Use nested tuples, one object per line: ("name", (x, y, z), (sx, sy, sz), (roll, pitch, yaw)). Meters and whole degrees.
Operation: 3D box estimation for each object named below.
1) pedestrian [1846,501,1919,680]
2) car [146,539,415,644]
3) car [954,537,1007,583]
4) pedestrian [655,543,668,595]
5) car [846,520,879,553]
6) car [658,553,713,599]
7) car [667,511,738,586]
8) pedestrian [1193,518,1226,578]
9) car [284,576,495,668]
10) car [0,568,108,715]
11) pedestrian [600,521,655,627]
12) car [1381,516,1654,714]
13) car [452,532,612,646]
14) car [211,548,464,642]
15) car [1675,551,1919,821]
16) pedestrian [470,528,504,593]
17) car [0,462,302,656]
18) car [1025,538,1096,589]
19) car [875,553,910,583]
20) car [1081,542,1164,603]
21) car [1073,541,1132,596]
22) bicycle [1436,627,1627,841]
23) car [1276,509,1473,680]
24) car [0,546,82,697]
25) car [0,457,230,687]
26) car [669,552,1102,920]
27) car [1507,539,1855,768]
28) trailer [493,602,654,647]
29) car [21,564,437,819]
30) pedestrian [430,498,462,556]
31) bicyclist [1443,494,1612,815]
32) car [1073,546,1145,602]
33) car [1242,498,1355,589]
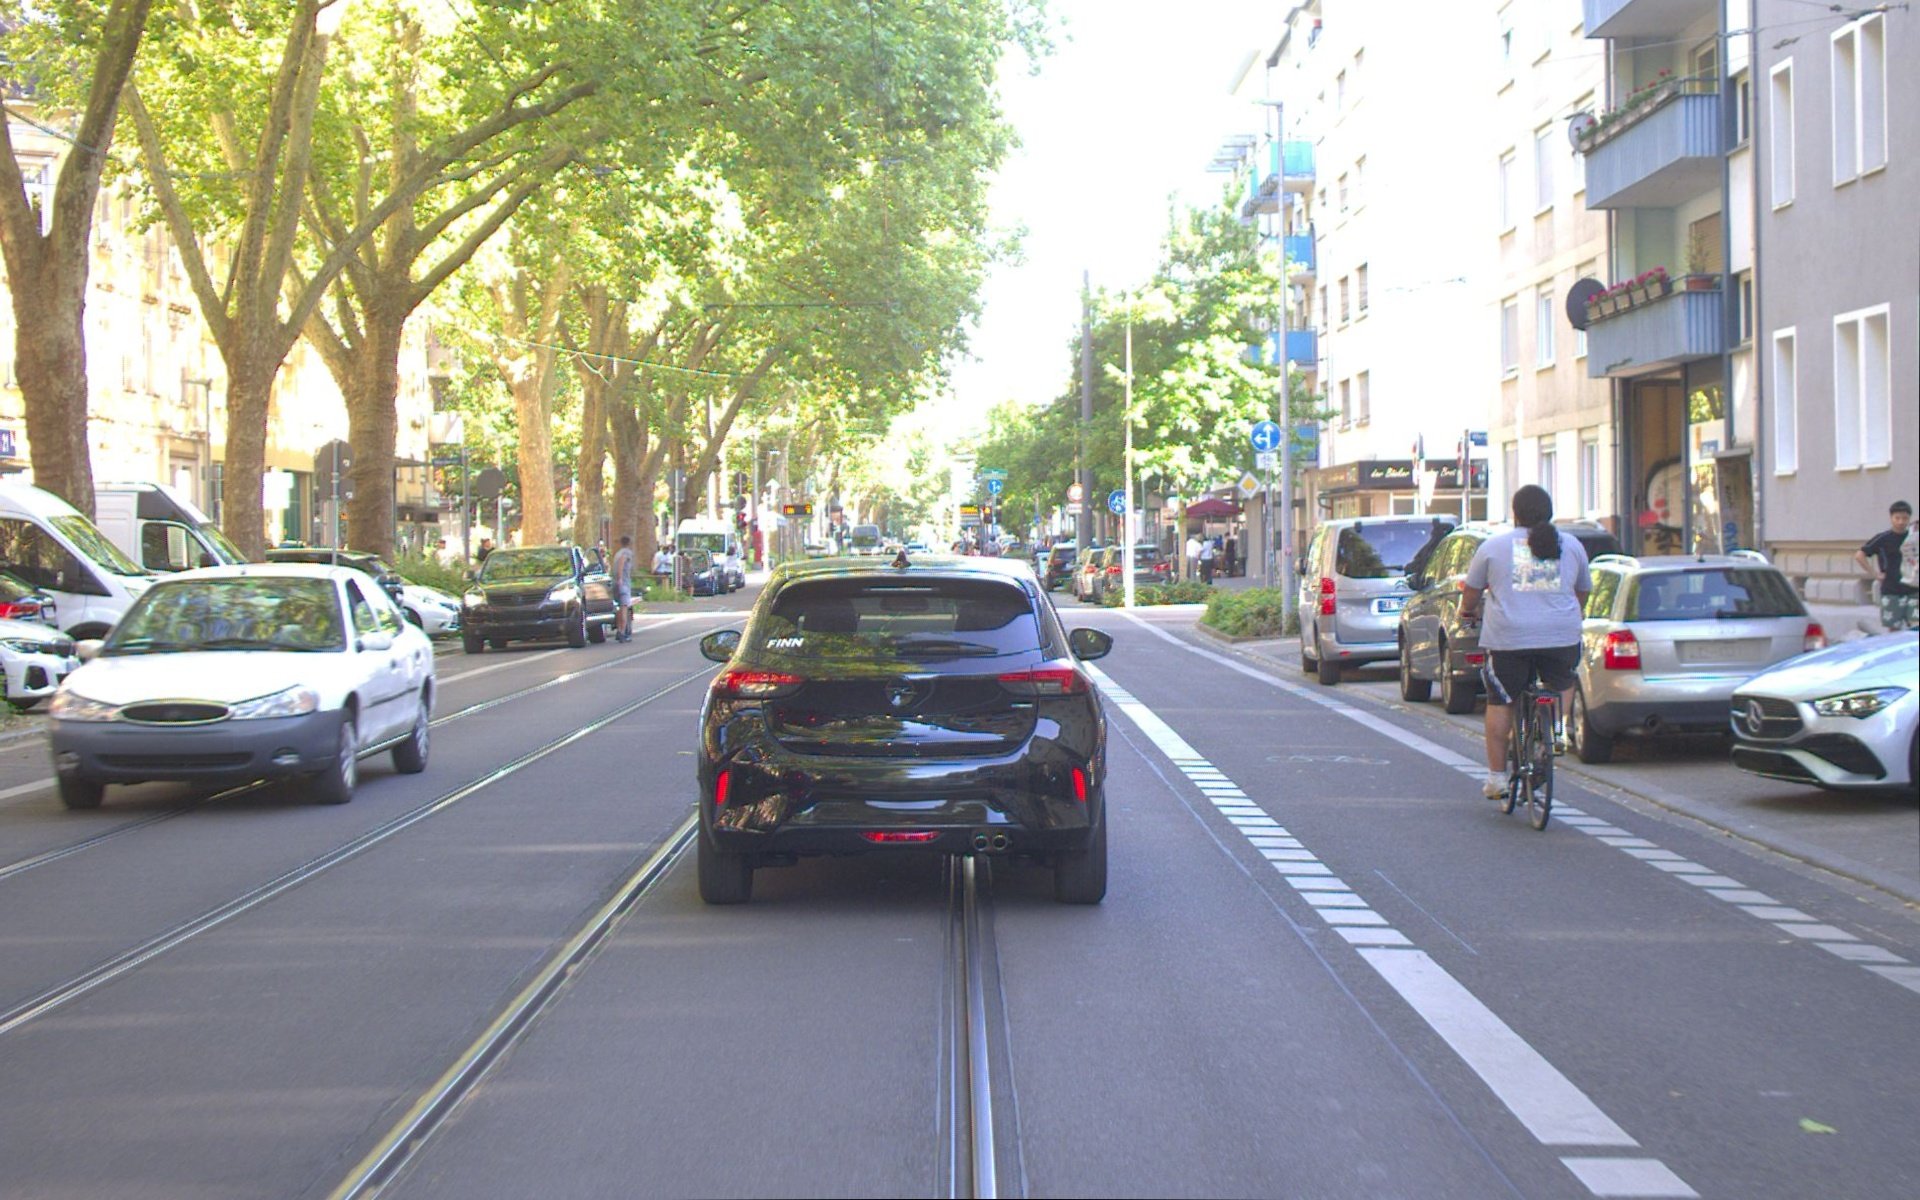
("pedestrian", (9.088, -0.101, 33.377), (0.756, 1.714, 0.720), (-1, 1, -1))
("car", (-10.977, -0.152, 55.707), (3.987, 1.641, 1.894), (-1, 1, -1))
("car", (0.792, -1.491, 127.706), (1.858, 1.646, 4.000), (-1, 1, 2))
("pedestrian", (-9.232, -0.959, 106.346), (0.346, 1.577, 0.508), (-1, 1, -2))
("car", (-6.645, -4.284, 233.125), (1.993, 2.204, 5.103), (-1, 1, -4))
("car", (-9.291, -0.822, 116.578), (1.754, 1.503, 4.001), (-1, 1, -3))
("car", (-9.167, -1.847, 122.698), (2.092, 2.575, 5.997), (-1, 1, 0))
("pedestrian", (7.340, -1.537, 101.206), (0.768, 1.742, 0.794), (0, 1, 20))
("car", (-9.941, 0.366, 60.046), (3.430, 1.525, 1.787), (-1, 1, -3))
("car", (-10.790, 0.397, 33.656), (4.409, 1.380, 1.933), (0, 1, 0))
("pedestrian", (-5.511, -0.435, 56.909), (0.711, 1.729, 0.913), (-2, 1, -14))
("car", (5.096, 0.090, 31.936), (1.766, 1.699, 4.283), (-1, 1, -1))
("car", (-6.921, -0.212, 55.996), (1.993, 1.694, 4.485), (-2, 1, 0))
("car", (-10.543, -0.099, 58.392), (3.987, 1.516, 1.771), (-1, 1, -1))
("car", (6.788, 0.401, 20.305), (4.612, 1.432, 1.865), (-2, 1, -11))
("pedestrian", (-13.607, -1.140, 98.937), (0.905, 1.862, 0.644), (-1, 1, -5))
("car", (-11.686, -0.569, 47.167), (4.943, 2.559, 2.083), (-1, 1, -3))
("car", (3.331, -1.222, 114.621), (1.993, 1.634, 4.001), (-1, 1, -4))
("car", (-3.778, -1.804, 193.824), (1.750, 1.646, 4.000), (-1, 1, 2))
("car", (4.241, -0.740, 90.283), (1.718, 1.568, 4.085), (-1, 1, -4))
("car", (4.135, -0.932, 99.863), (1.651, 1.568, 3.083), (-1, 1, 2))
("bicycle", (3.172, 0.717, 19.243), (0.701, 1.088, 1.990), (1, 0, 0))
("car", (4.842, -0.101, 40.766), (1.858, 1.883, 4.924), (-1, 1, 2))
("car", (-11.628, 0.217, 35.993), (4.370, 1.533, 1.872), (0, 1, 0))
("car", (-11.059, -0.304, 38.357), (5.360, 2.469, 2.057), (-1, 1, 1))
("car", (-0.306, 0.508, 15.296), (1.679, 1.417, 3.628), (1, 1, 0))
("car", (5.196, 0.318, 25.312), (1.724, 1.520, 4.512), (0, 1, 2))
("trailer", (-6.829, 0.419, 61.445), (2.161, 0.629, 6.400), (-1, 1, 0))
("car", (-4.356, 0.479, 21.135), (1.718, 1.354, 4.470), (-1, 1, -2))
("pedestrian", (-14.540, -2.074, 97.313), (0.846, 1.627, 0.644), (-1, 1, -5))
("bicyclist", (3.175, 0.291, 19.304), (0.786, 1.753, 0.915), (0, 1, 0))
("car", (4.135, -0.738, 95.742), (1.718, 1.485, 3.682), (-1, 1, -1))
("car", (6.399, -1.078, 65.301), (1.858, 1.646, 4.000), (-1, 1, 2))
